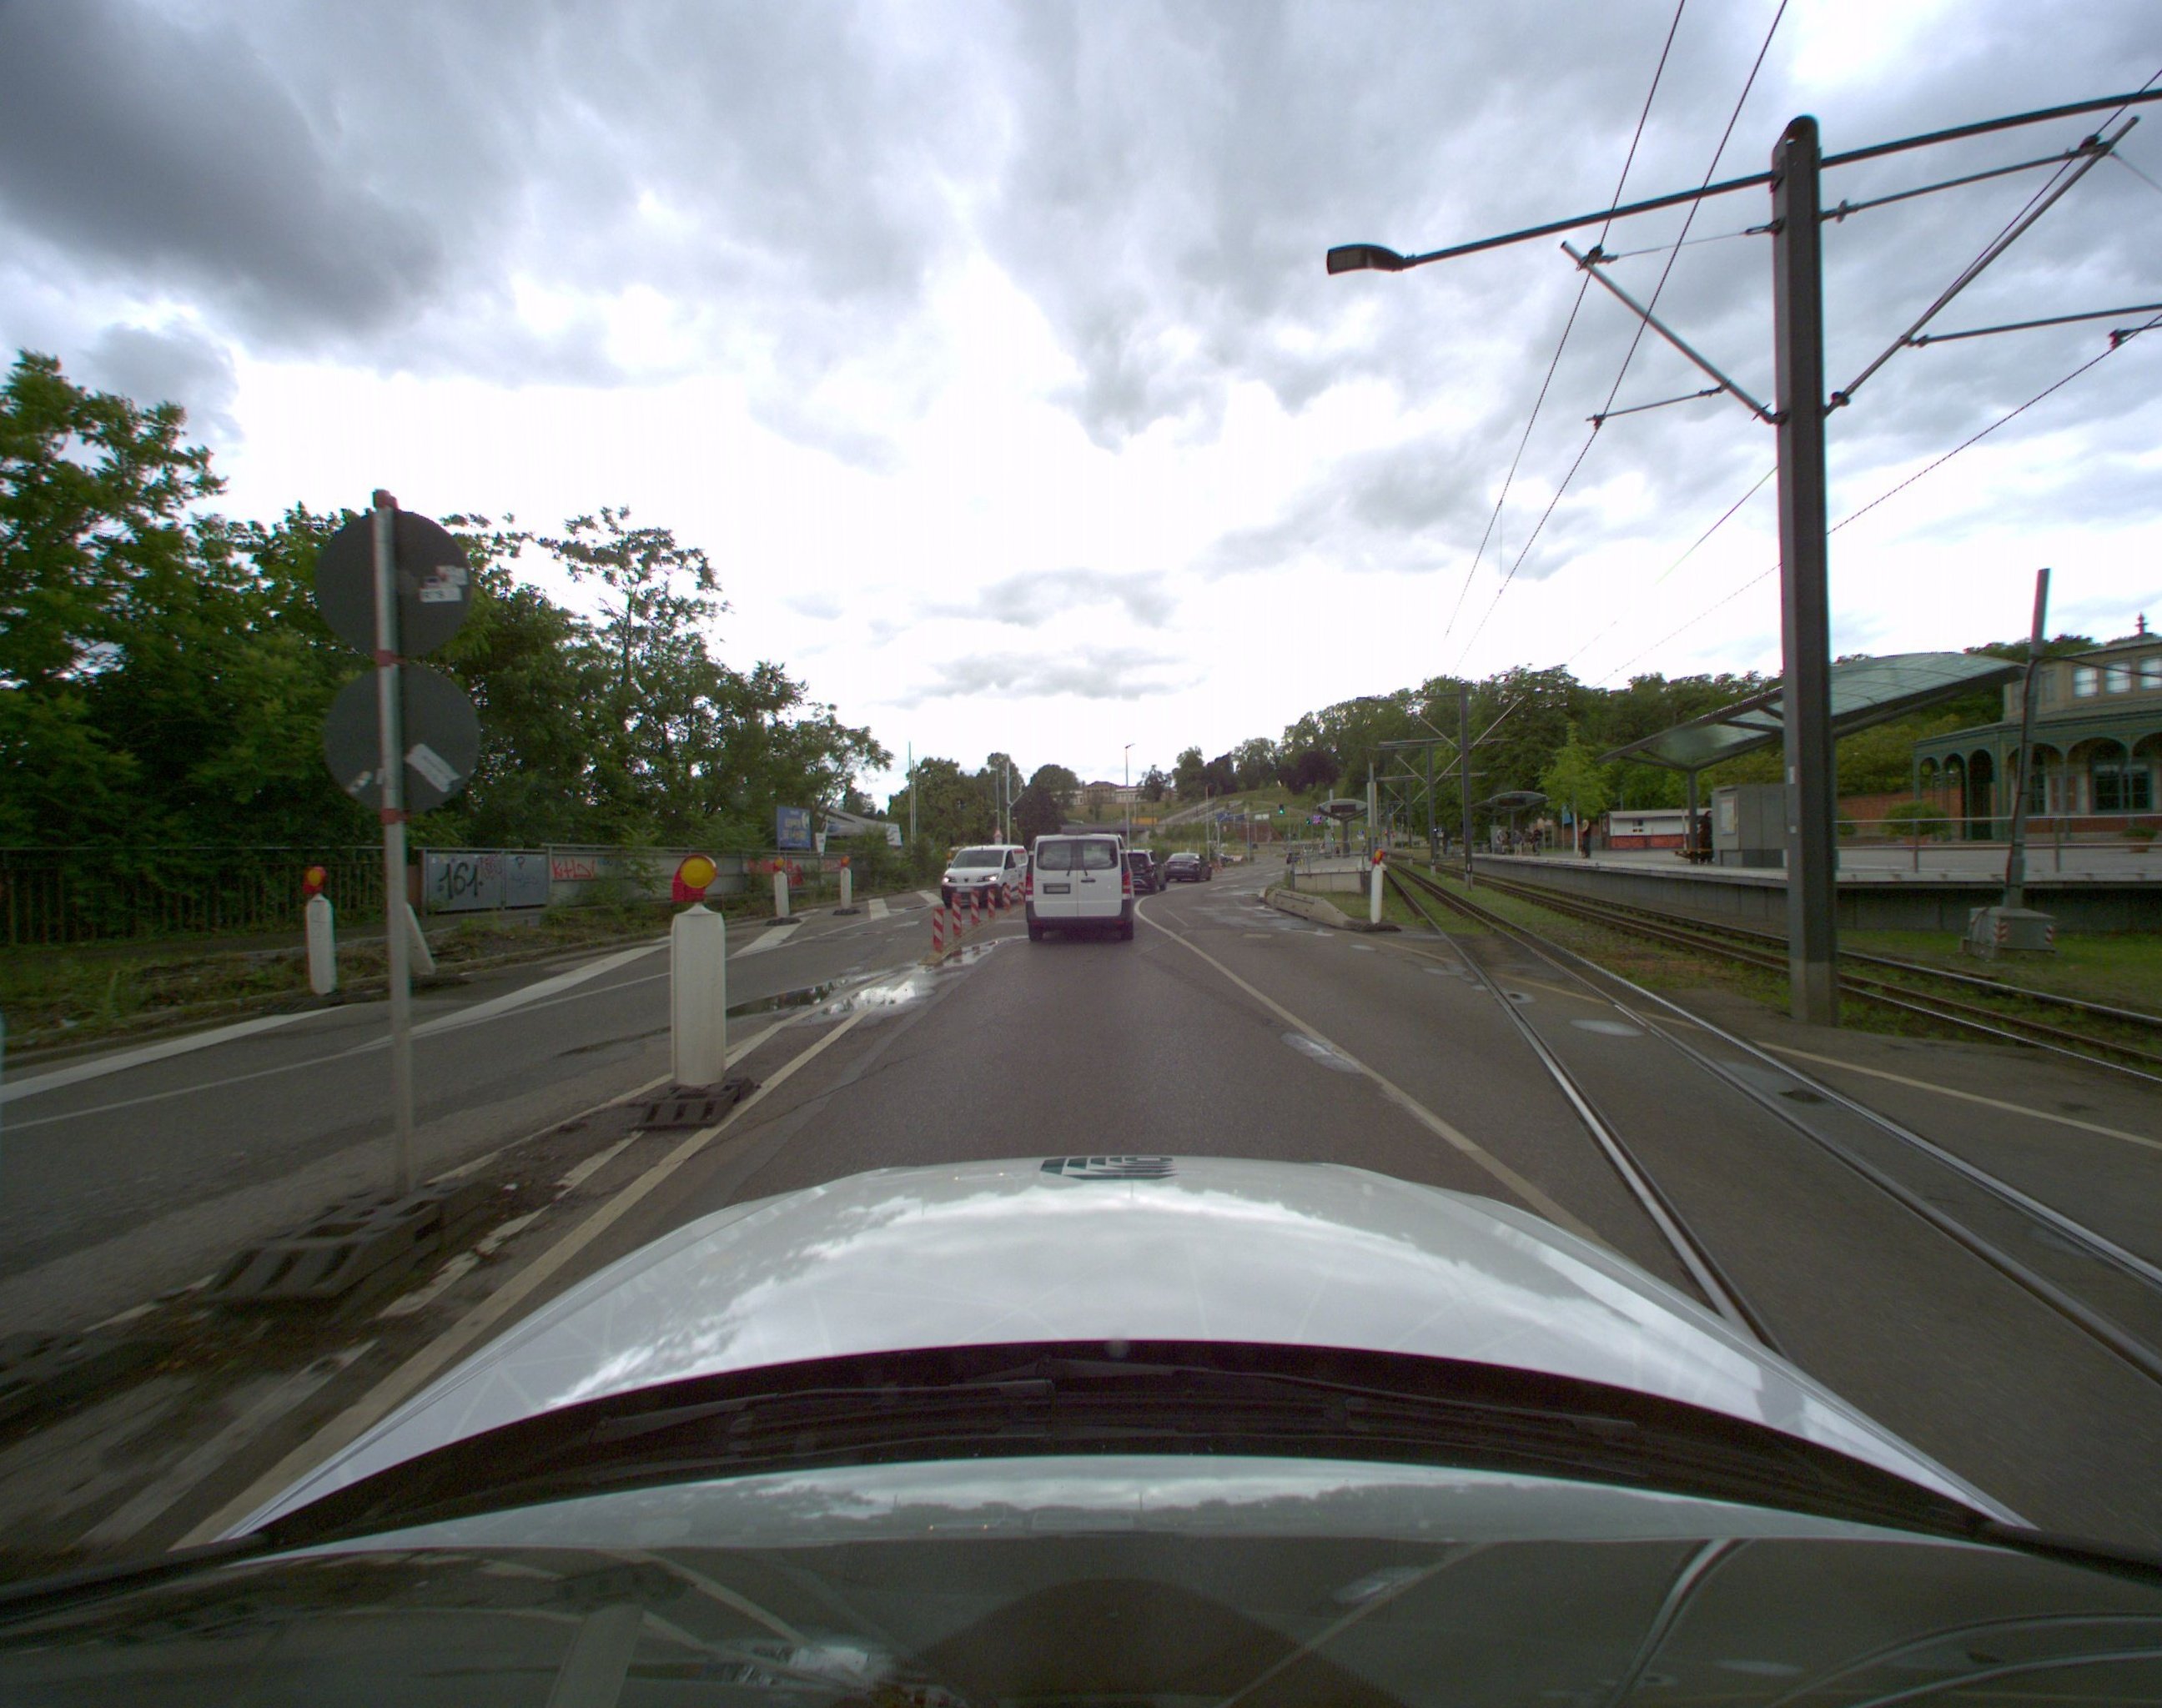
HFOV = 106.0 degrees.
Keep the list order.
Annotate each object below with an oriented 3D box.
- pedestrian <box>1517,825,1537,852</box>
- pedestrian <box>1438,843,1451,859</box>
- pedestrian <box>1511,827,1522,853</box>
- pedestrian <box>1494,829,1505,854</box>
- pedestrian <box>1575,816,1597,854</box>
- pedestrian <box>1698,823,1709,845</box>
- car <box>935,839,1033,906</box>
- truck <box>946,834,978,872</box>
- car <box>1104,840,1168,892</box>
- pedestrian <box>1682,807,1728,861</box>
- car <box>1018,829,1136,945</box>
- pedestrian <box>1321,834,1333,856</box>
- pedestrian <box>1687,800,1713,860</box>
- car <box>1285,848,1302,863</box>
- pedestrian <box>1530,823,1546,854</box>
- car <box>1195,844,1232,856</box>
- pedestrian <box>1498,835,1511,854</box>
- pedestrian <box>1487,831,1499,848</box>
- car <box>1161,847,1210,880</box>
[{"bbox_3d":[28.285,-0.967,51.645,0.855,1.677,0.763,1,0,9],"label":"pedestrian"},{"bbox_3d":[37.545,-0.299,84.133,0.830,1.609,0.777,-2,-1,-3],"label":"pedestrian"},{"bbox_3d":[27.143,-0.846,50.735,0.520,1.620,0.679,1,0,21],"label":"pedestrian"},{"bbox_3d":[28.740,-0.873,55.904,0.540,1.677,0.678,1,0,16],"label":"pedestrian"},{"bbox_3d":[22.710,-0.829,36.618,0.627,1.687,0.870,1,0,19],"label":"pedestrian"},{"bbox_3d":[42.770,-1.398,55.911,0.481,1.487,0.462,1,0,22],"label":"pedestrian"},{"bbox_3d":[-2.826,0.479,24.807,1.854,1.782,4.757,-2,1,6],"label":"car"},{"bbox_3d":[-11.565,-0.130,79.311,2.791,3.336,8.454,-3,1,-8],"label":"truck"},{"bbox_3d":[2.088,0.393,29.621,1.826,1.729,4.075,0,0,11],"label":"car"},{"bbox_3d":[18.312,-0.572,23.912,0.757,1.541,0.786,1,0,-4],"label":"pedestrian"},{"bbox_3d":[0.084,0.522,15.620,1.950,1.903,4.466,0,0,4],"label":"car"},{"bbox_3d":[17.684,-0.658,58.482,0.744,1.553,0.779,1,2,21],"label":"pedestrian"},{"bbox_3d":[17.585,-0.674,23.134,0.481,1.660,0.632,1,0,28],"label":"pedestrian"},{"bbox_3d":[25.742,0.165,98.702,1.979,1.772,4.016,1,0,15],"label":"car"},{"bbox_3d":[26.776,-0.910,47.719,0.627,1.838,0.955,1,0,21],"label":"pedestrian"},{"bbox_3d":[18.675,-0.499,115.086,4.664,1.477,2.013,-2,1,29],"label":"car"},{"bbox_3d":[27.237,-0.614,52.384,0.652,1.191,0.679,1,0,21],"label":"pedestrian"},{"bbox_3d":[30.924,-1.082,61.164,0.668,1.323,0.972,1,0,18],"label":"pedestrian"},{"bbox_3d":[5.345,0.433,41.141,1.824,1.582,4.080,0,0,17],"label":"car"}]
